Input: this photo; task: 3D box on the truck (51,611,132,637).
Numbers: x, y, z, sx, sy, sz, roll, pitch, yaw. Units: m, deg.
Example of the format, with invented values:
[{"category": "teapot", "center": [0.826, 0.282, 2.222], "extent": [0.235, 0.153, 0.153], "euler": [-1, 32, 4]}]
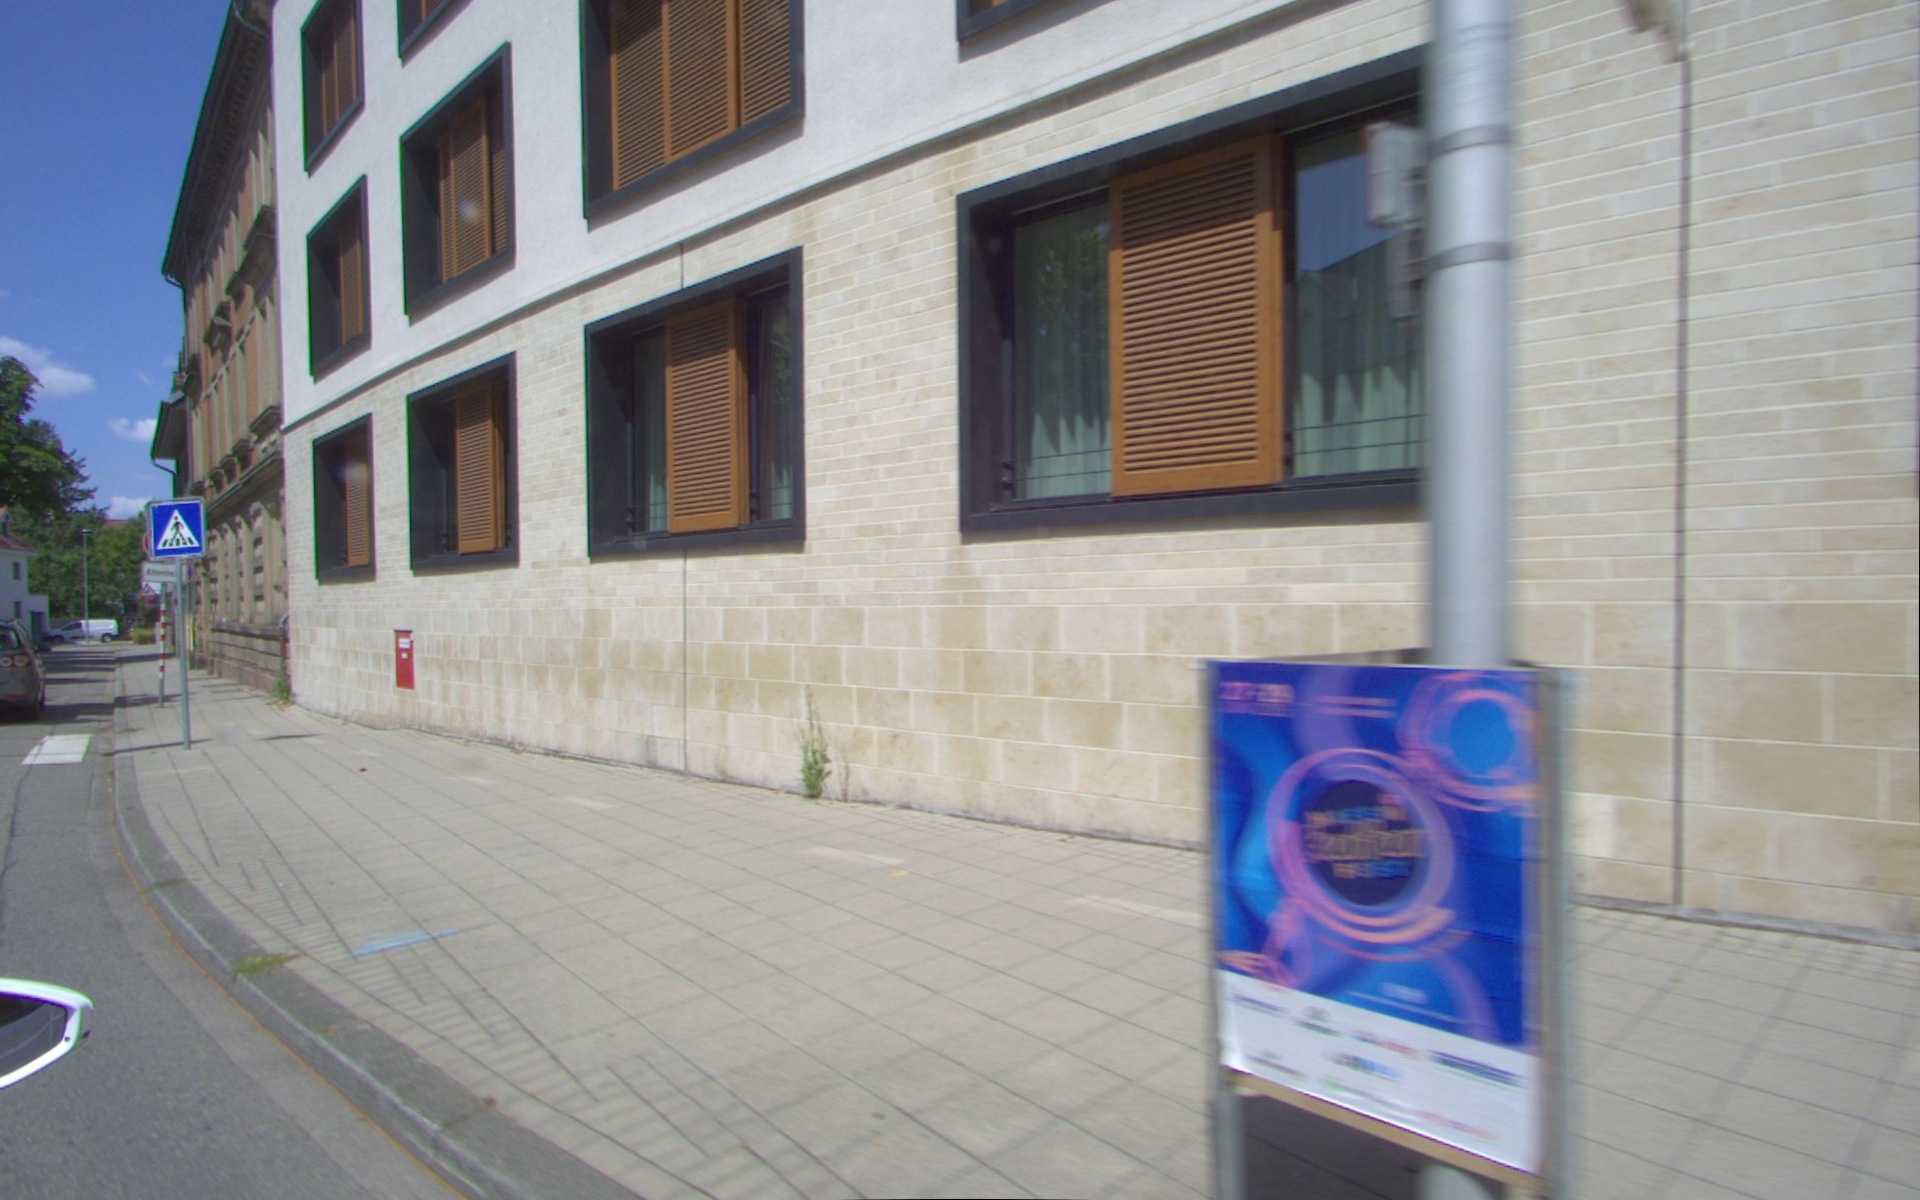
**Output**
[{"category": "truck", "center": [-70.122, 1.879, 80.881], "extent": [2.122, 2.040, 4.767], "euler": [0, 0, 43]}]

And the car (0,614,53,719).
[{"category": "car", "center": [-15.980, 0.990, 16.175], "extent": [1.891, 1.553, 4.205], "euler": [4, -3, -42]}]

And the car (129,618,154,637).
[{"category": "car", "center": [-70.767, 2.374, 86.571], "extent": [1.634, 1.594, 3.608], "euler": [1, -1, -40]}]
